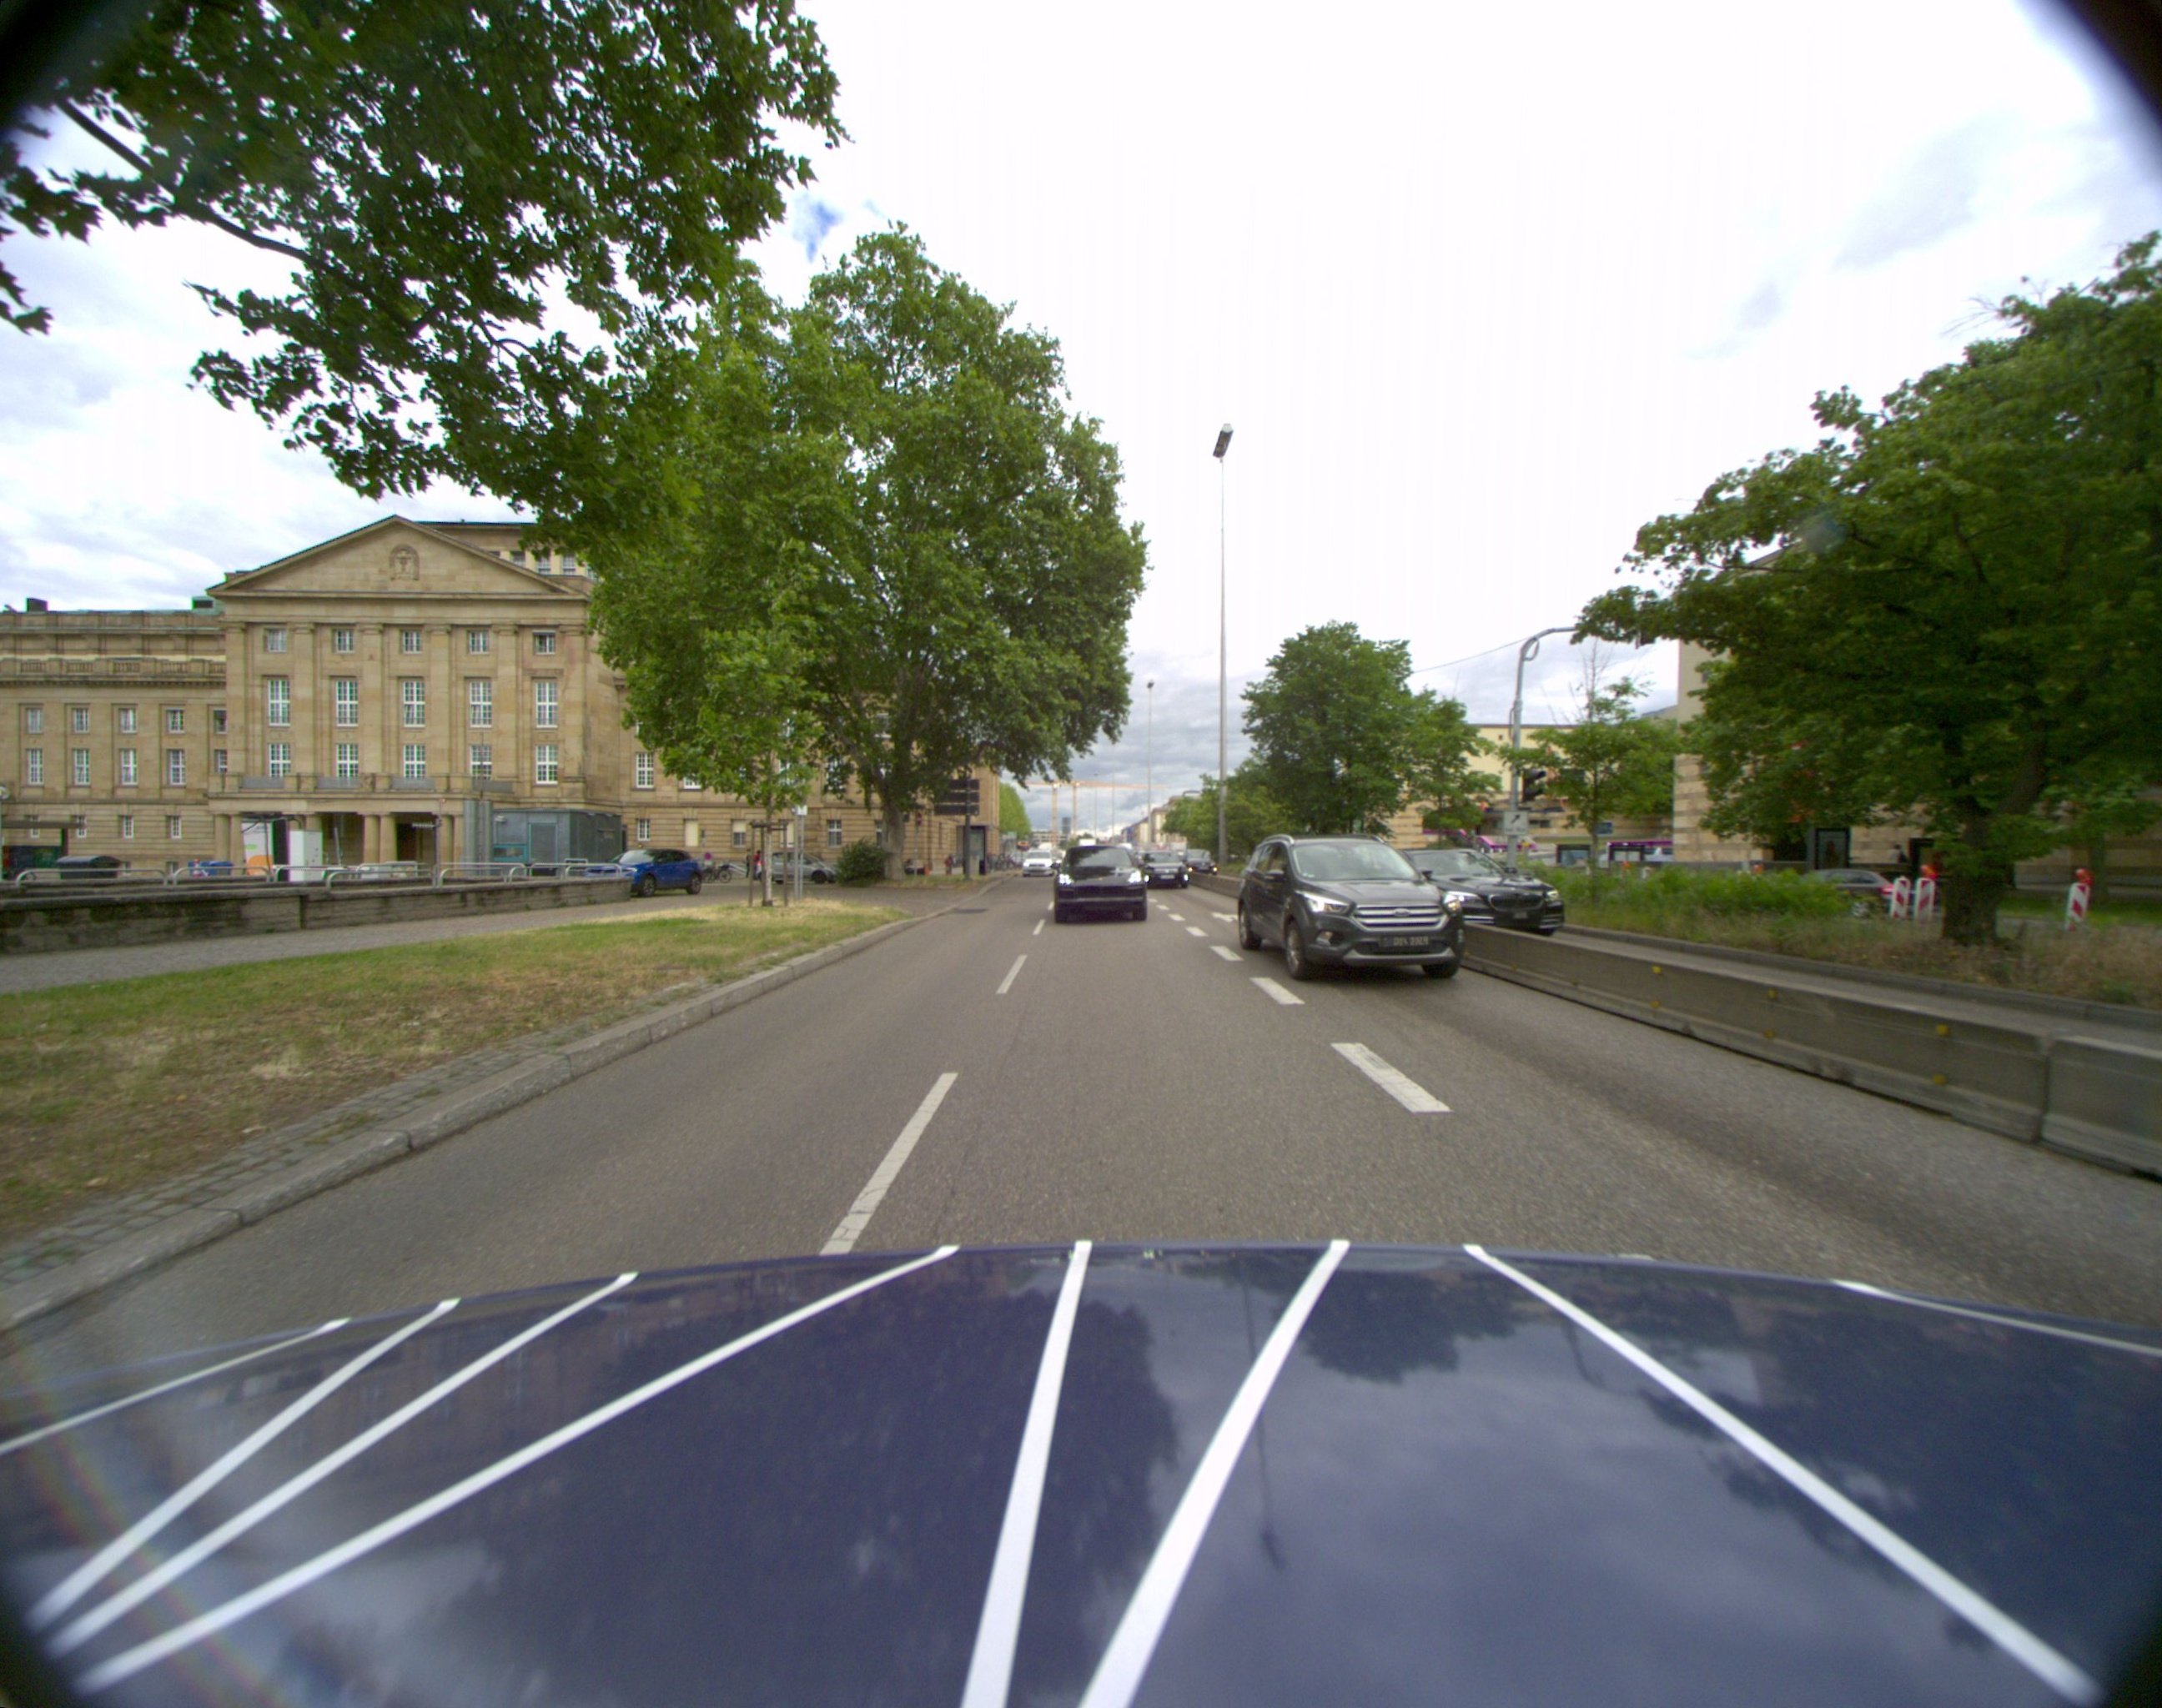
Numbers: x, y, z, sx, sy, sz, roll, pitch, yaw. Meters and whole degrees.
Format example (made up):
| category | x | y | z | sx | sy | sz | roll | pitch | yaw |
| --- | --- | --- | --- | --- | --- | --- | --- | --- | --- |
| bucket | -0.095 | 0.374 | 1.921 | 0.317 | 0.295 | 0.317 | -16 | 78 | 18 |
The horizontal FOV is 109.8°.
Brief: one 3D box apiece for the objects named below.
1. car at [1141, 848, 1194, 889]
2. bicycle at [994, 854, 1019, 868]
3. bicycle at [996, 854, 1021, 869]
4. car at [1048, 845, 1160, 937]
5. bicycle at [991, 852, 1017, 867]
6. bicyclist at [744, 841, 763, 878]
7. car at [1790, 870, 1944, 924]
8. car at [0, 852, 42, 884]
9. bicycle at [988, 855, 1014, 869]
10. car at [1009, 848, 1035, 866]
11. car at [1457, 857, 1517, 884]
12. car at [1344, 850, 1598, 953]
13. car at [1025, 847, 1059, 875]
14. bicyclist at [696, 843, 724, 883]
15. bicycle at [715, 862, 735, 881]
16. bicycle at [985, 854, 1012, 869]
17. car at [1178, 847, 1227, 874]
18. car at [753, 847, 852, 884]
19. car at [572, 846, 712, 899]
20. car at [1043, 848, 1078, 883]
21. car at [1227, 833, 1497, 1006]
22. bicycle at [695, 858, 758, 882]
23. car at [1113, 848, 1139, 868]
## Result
| category | x | y | z | sx | sy | sz | roll | pitch | yaw |
| --- | --- | --- | --- | --- | --- | --- | --- | --- | --- |
| car | 3.482 | 0.544 | 31.108 | 1.767 | 1.507 | 4.152 | -1 | 1 | 1 |
| bicycle | -5.670 | 0.535 | 57.684 | 1.843 | 1.066 | 0.531 | 0 | 1 | -19 |
| bicycle | -5.383 | 0.553 | 56.700 | 1.841 | 1.066 | 0.532 | 0 | 1 | -8 |
| car | 0.359 | 0.685 | 16.771 | 2.062 | 1.616 | 4.599 | -3 | 1 | -2 |
| bicycle | -6.030 | 0.449 | 59.205 | 1.939 | 1.126 | 0.540 | 0 | 1 | -19 |
| bicyclist | -18.305 | 0.299 | 42.495 | 0.879 | 2.002 | 0.842 | -3 | 2 | -25 |
| car | 22.847 | 1.208 | 22.235 | 1.355 | 1.281 | 3.055 | -2 | 1 | 0 |
| car | -61.452 | 0.854 | 42.447 | 3.997 | 1.707 | 2.000 | -2 | 1 | 1 |
| bicycle | -5.878 | 0.580 | 55.821 | 1.841 | 1.066 | 0.618 | 0 | 1 | -7 |
| car | -5.339 | 0.286 | 68.881 | 1.843 | 1.522 | 4.000 | 0 | 1 | 3 |
| car | 22.740 | 0.909 | 42.726 | 1.355 | 1.281 | 3.736 | -2 | 1 | 0 |
| car | 6.465 | 0.671 | 13.373 | 1.998 | 1.474 | 4.809 | 0 | 0 | 0 |
| car | -2.322 | 0.411 | 46.462 | 1.695 | 1.585 | 4.000 | 0 | 1 | 3 |
| bicyclist | -19.284 | 0.458 | 39.511 | 1.104 | 2.002 | 1.011 | -1 | 0 | -16 |
| bicycle | -19.786 | 0.943 | 42.276 | 0.918 | 0.926 | 2.674 | -3 | 1 | -25 |
| bicycle | -5.999 | 0.562 | 55.145 | 1.918 | 1.092 | 0.541 | 0 | 1 | -7 |
| car | 6.742 | 0.328 | 42.684 | 1.998 | 1.474 | 4.809 | 0 | 0 | 0 |
| car | -13.199 | 0.524 | 36.209 | 3.997 | 1.587 | 1.734 | -2 | 1 | 0 |
| car | -13.485 | 0.564 | 23.679 | 1.768 | 1.508 | 4.219 | 0 | -1 | 3 |
| car | -0.987 | 0.528 | 37.490 | 1.582 | 1.600 | 3.578 | 0 | 1 | 1 |
| car | 3.267 | 0.657 | 9.953 | 1.898 | 1.705 | 4.658 | -1 | 0 | 1 |
| bicycle | -18.501 | 0.822 | 39.716 | 2.846 | 1.178 | 1.096 | -1 | 1 | -16 |
| car | 3.855 | 0.333 | 65.274 | 1.998 | 1.607 | 4.737 | 0 | 1 | 1 |
